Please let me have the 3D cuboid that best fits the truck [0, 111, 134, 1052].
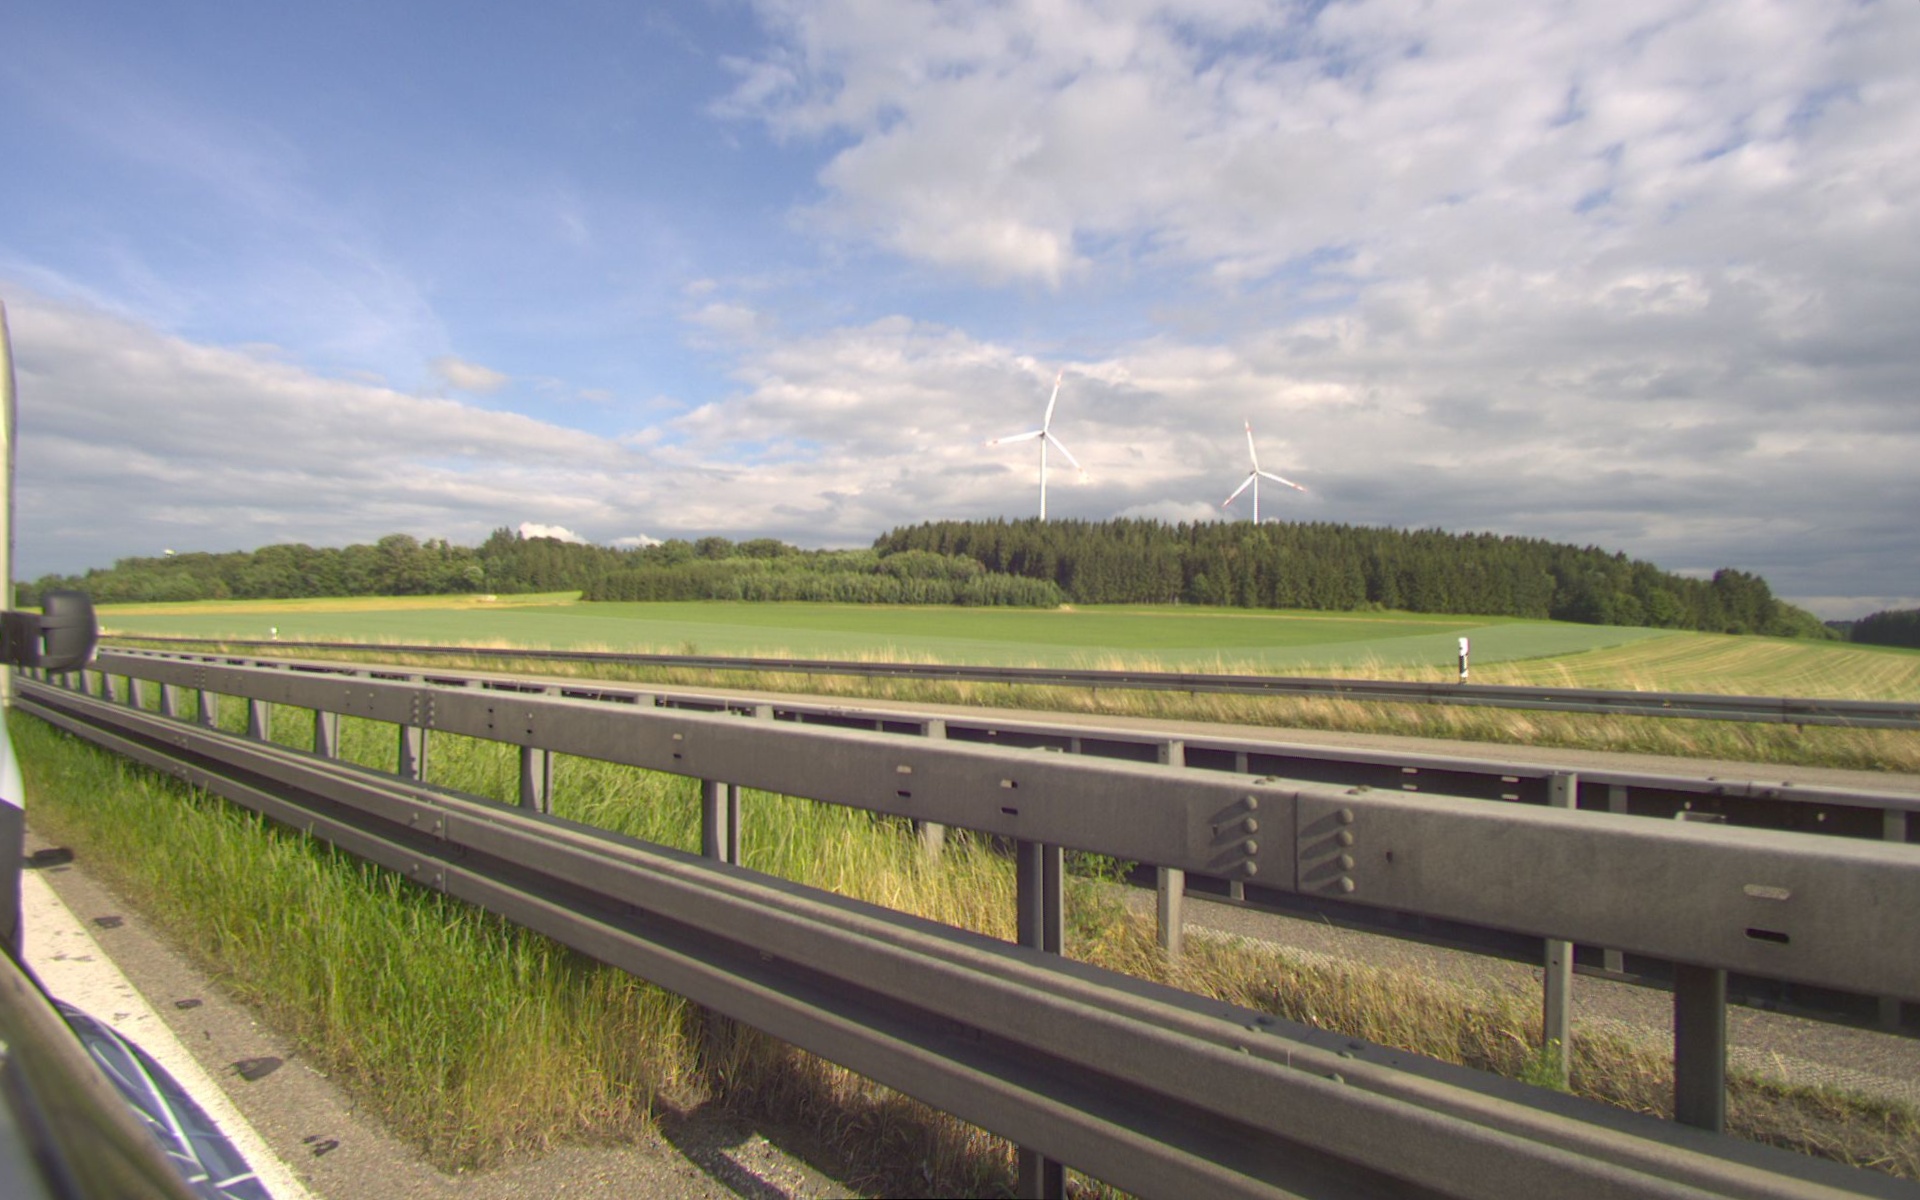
[{"bbox_3d":[-8.051,0.048,6.361,11.155,3.183,2.470,-2,-1,40],"label":"truck"}]
